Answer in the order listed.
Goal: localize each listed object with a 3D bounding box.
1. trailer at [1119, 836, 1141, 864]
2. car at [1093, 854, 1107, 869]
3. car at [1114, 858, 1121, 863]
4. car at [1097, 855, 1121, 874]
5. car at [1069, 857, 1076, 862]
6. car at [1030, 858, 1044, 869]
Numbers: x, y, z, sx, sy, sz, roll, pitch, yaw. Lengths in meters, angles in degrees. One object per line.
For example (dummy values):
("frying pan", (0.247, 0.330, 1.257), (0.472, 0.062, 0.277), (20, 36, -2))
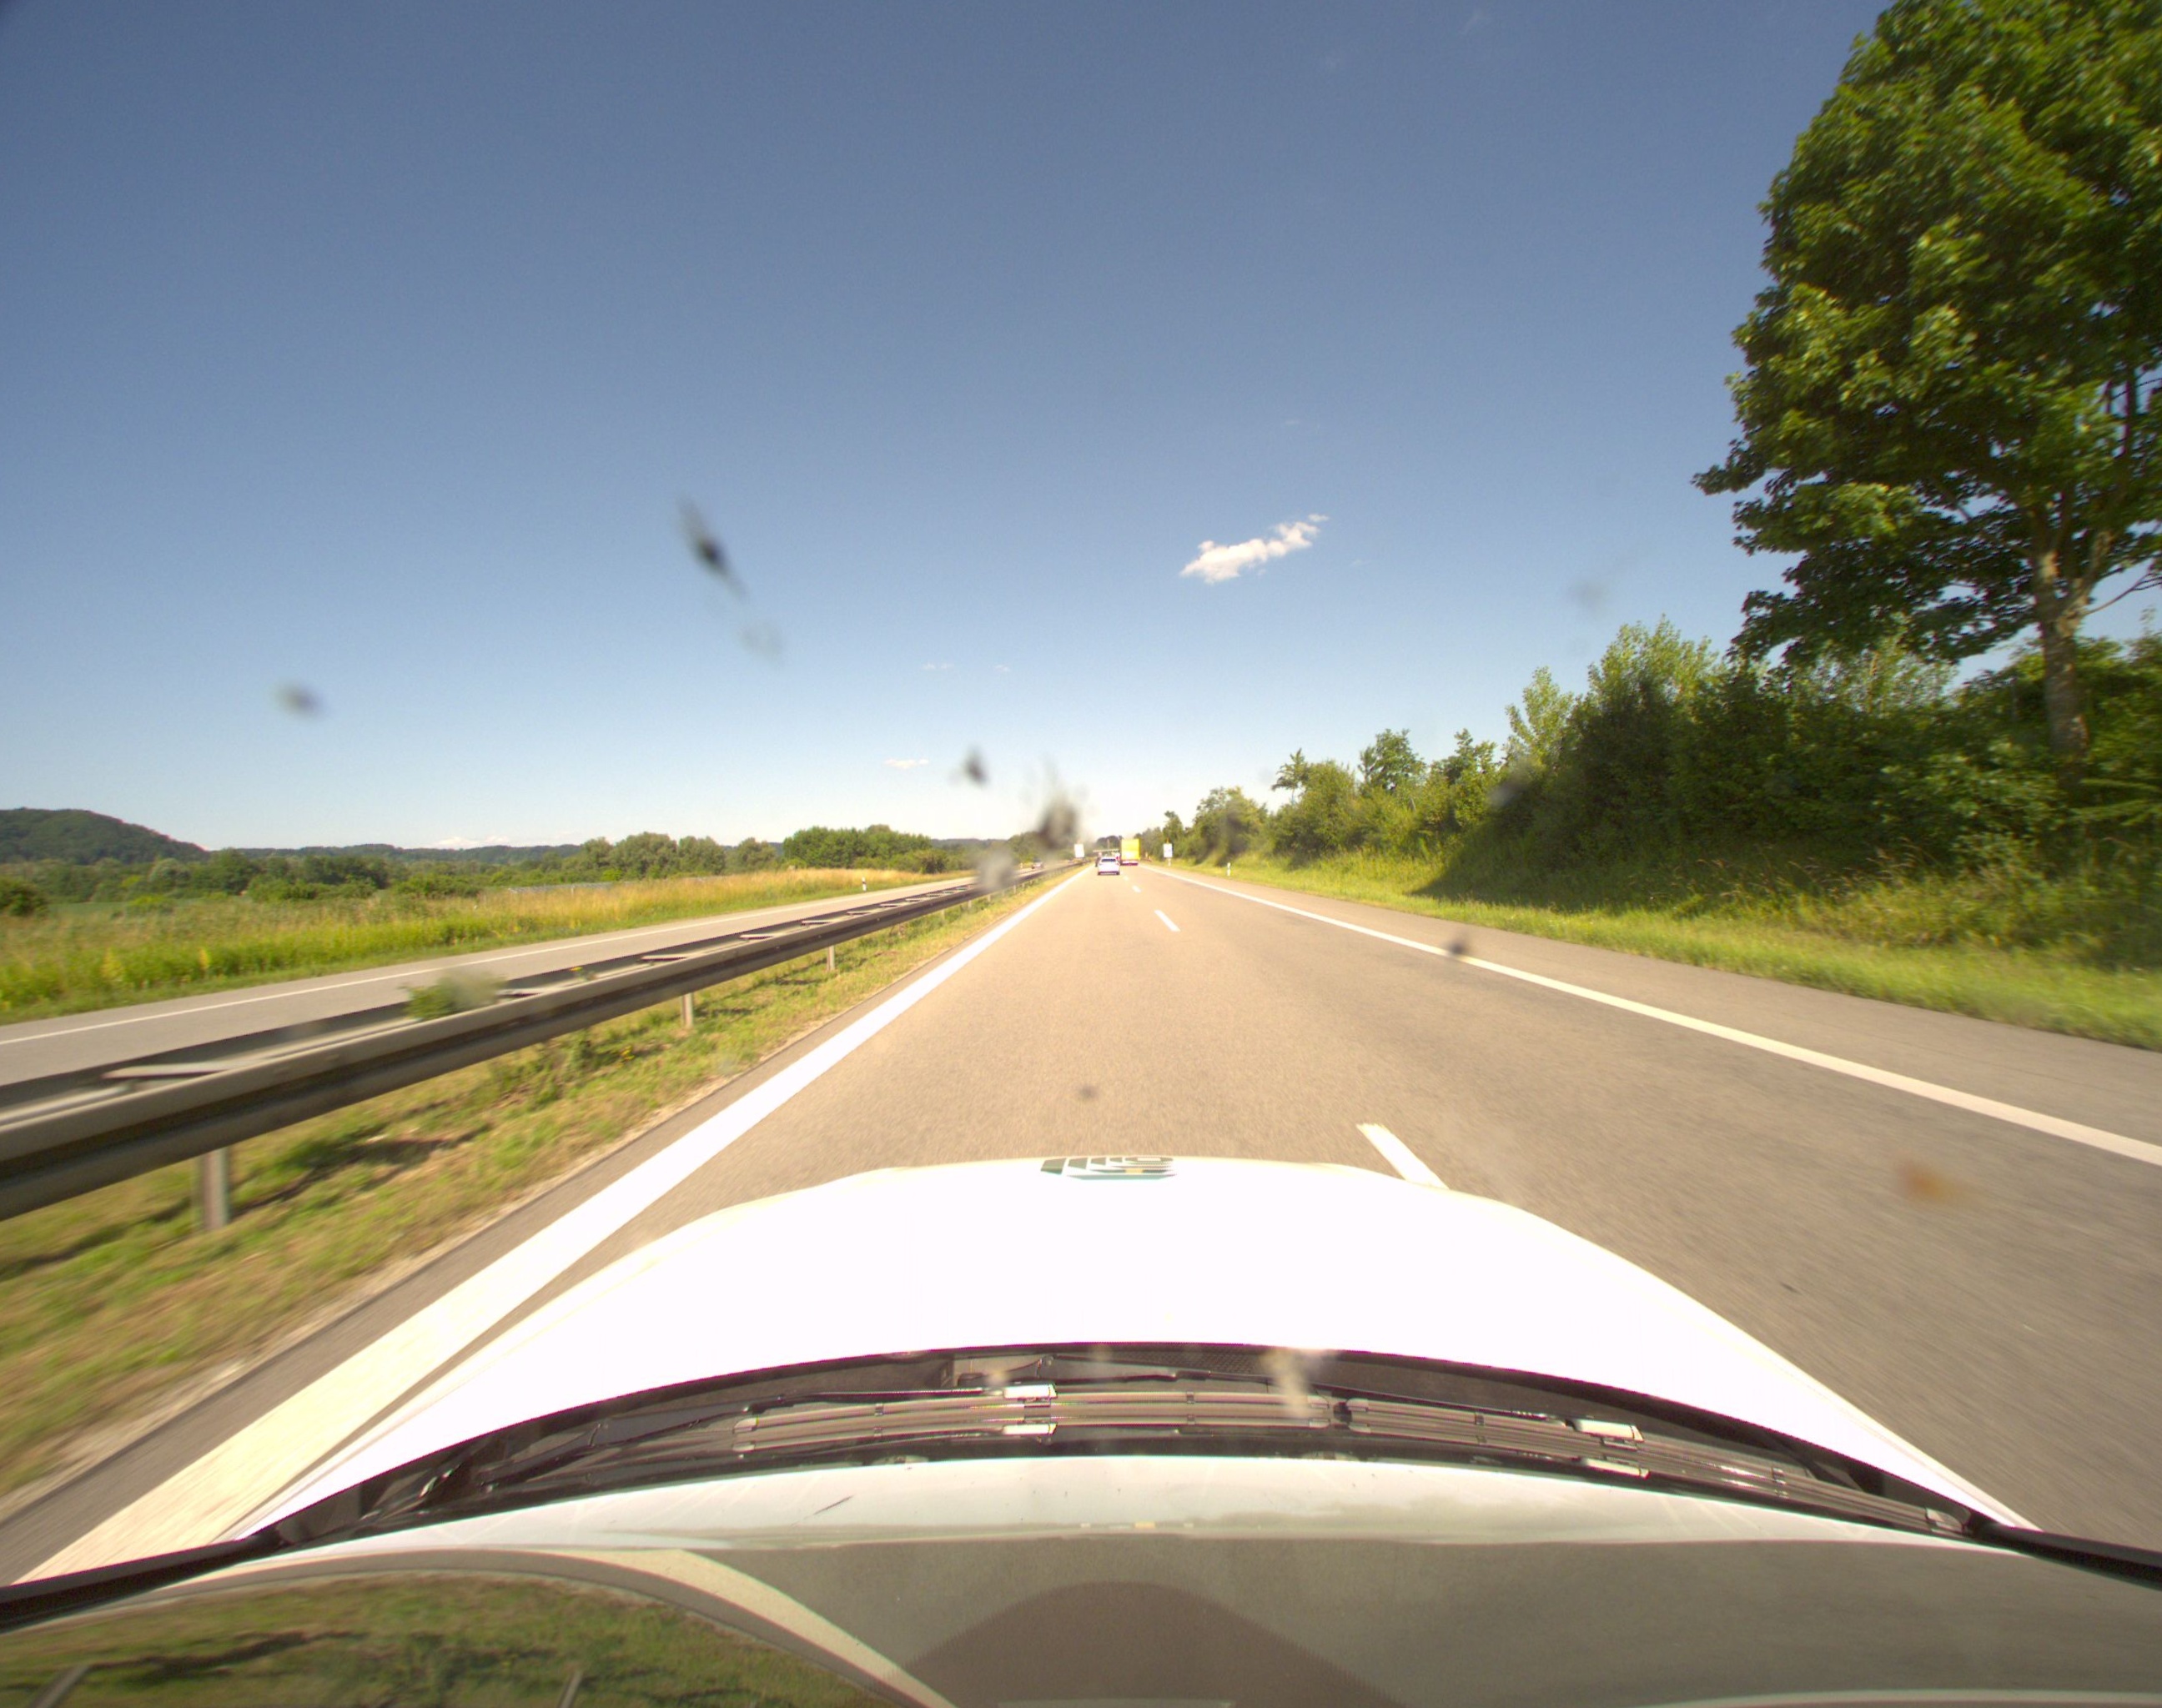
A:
("trailer", (7.600, -0.557, 128.577), (3.172, 4.059, 13.193), (0, -1, 2))
("car", (2.751, 1.092, 116.623), (1.986, 2.014, 4.001), (0, -1, 1))
("car", (11.399, 1.980, 254.010), (1.895, 1.683, 4.733), (1, 0, 2))
("car", (2.249, 0.825, 65.510), (1.835, 1.416, 4.003), (0, -1, 3))
("car", (-2.498, 1.552, 247.180), (1.826, 1.398, 4.923), (-5, 0, 1))
("car", (-7.448, 1.560, 137.486), (1.895, 1.683, 4.733), (-3, -1, 2))
